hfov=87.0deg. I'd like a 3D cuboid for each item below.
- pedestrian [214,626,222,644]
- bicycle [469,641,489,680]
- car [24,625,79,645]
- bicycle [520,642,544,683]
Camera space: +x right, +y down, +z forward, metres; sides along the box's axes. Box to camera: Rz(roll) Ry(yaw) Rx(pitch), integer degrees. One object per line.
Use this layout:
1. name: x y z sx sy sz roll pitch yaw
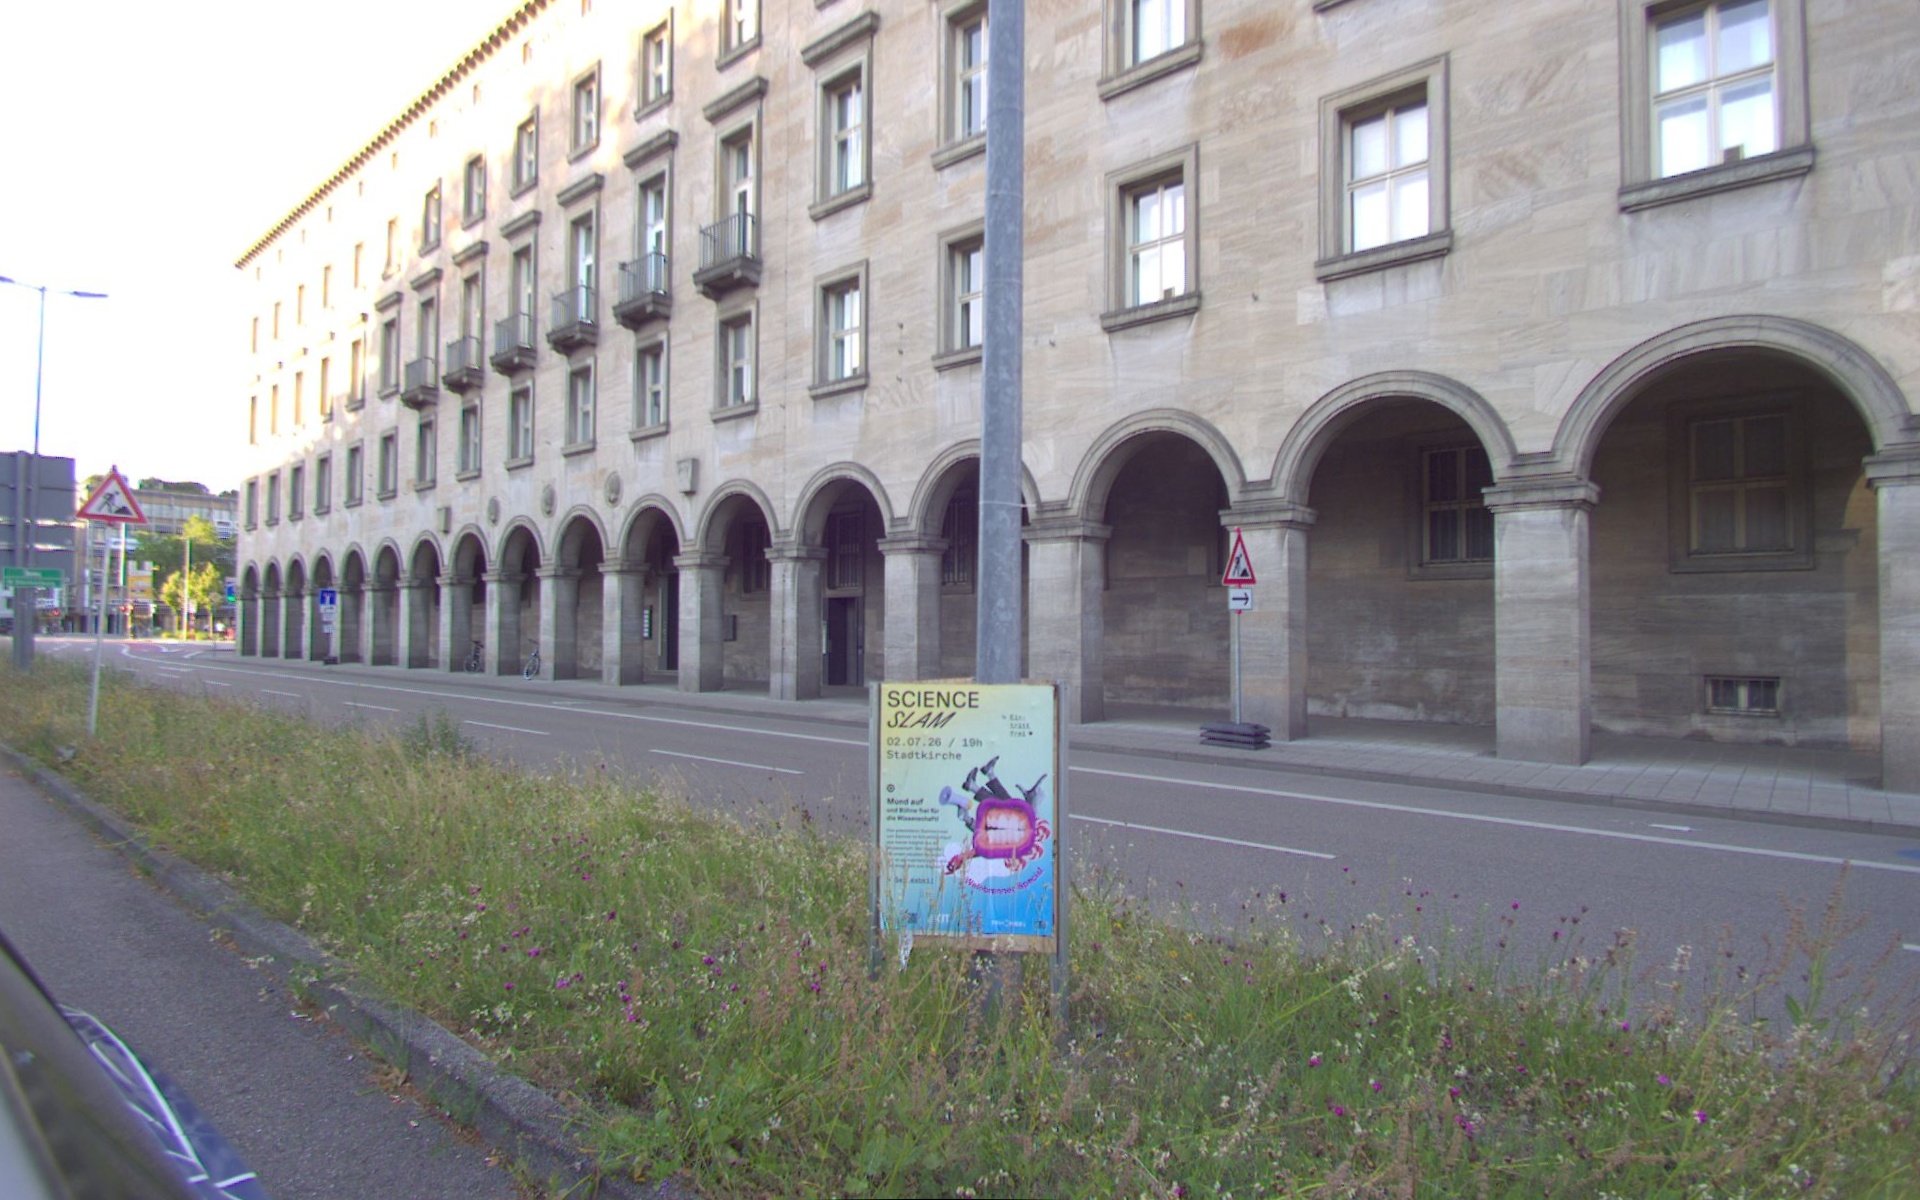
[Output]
1. pedestrian: -66.867 3.163 91.213 0.389 1.553 0.519 -2 -3 41
2. bicycle: -15.334 1.917 32.288 0.505 1.188 2.431 1 -2 -25
3. car: -94.941 3.639 105.750 1.997 2.029 3.949 -1 -3 38
4. bicycle: -12.723 1.831 30.115 0.505 1.130 2.431 1 -1 -20
